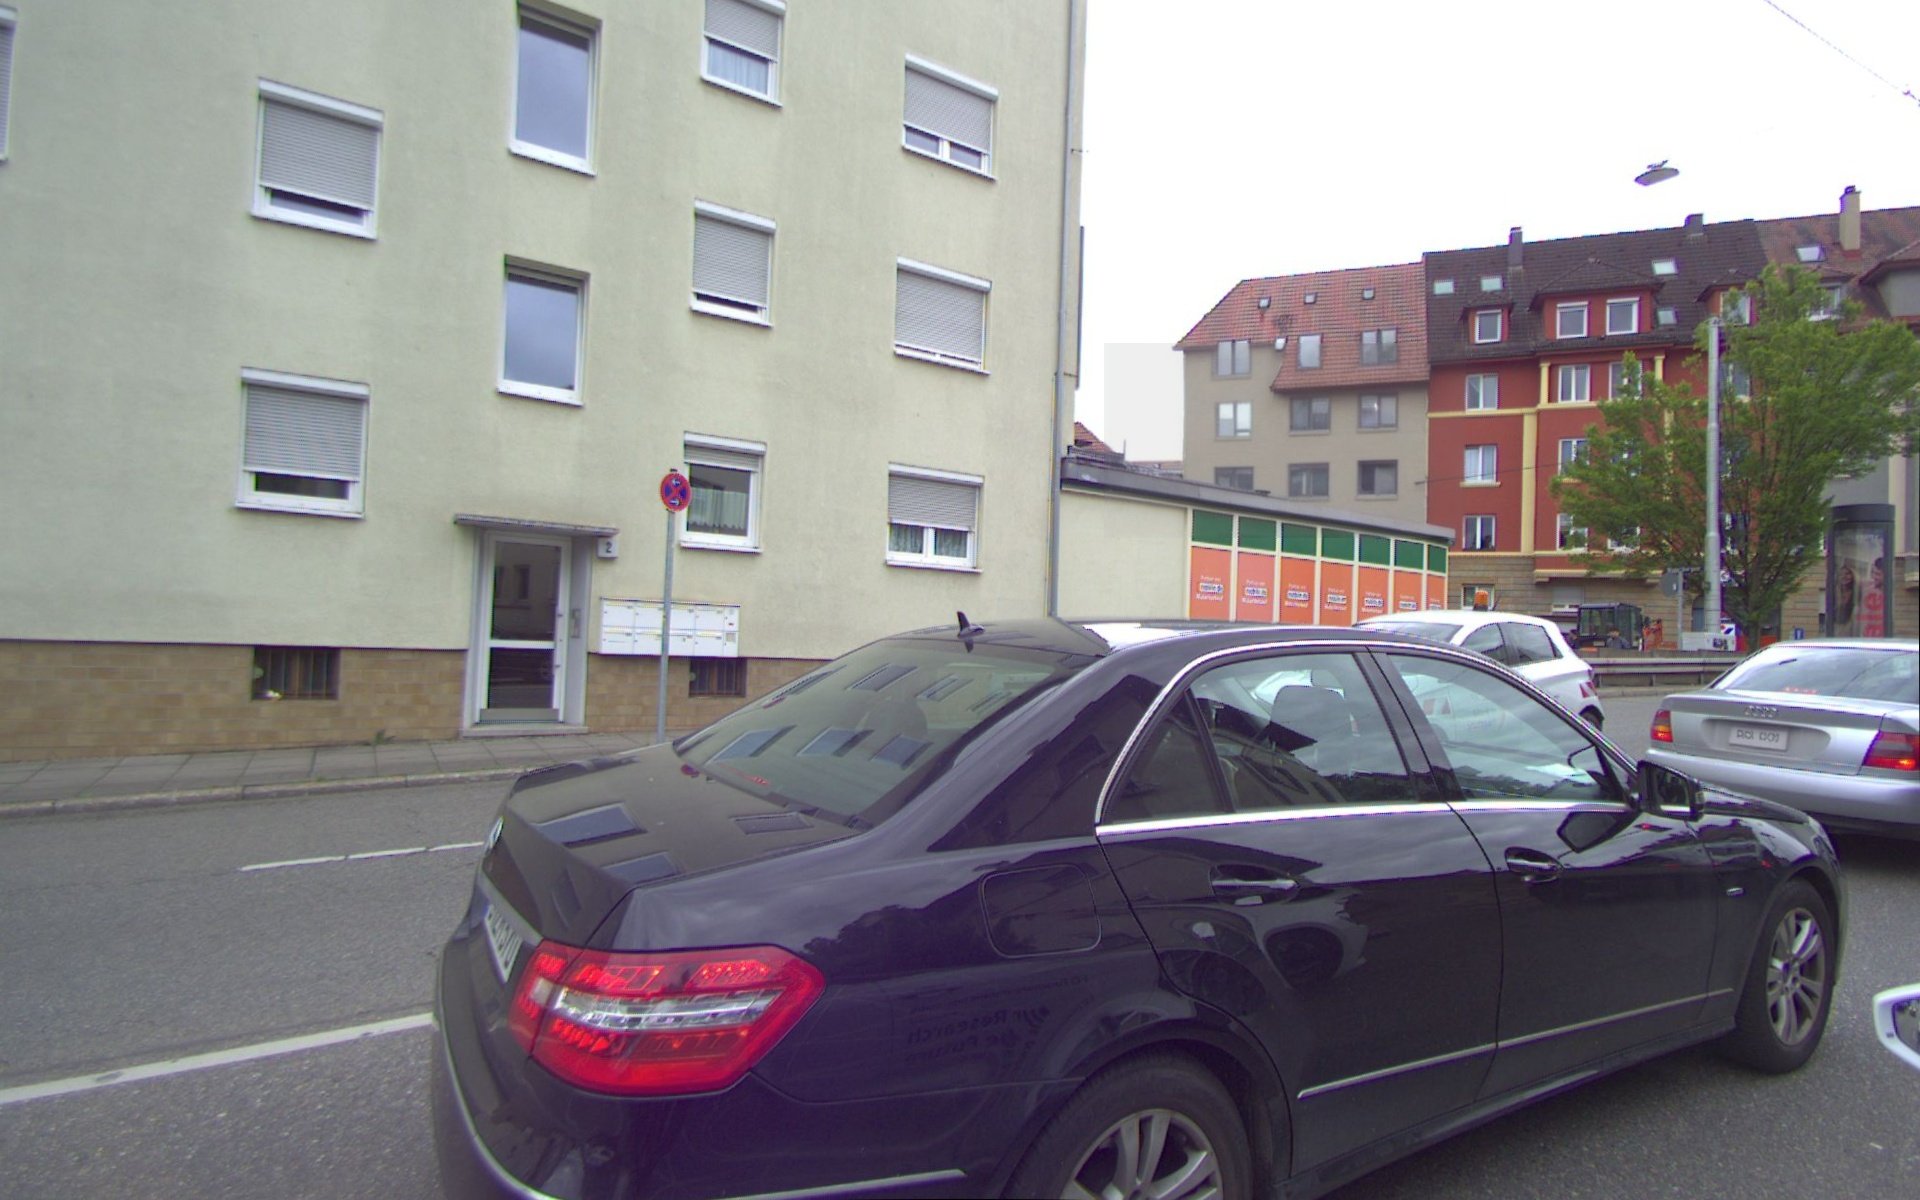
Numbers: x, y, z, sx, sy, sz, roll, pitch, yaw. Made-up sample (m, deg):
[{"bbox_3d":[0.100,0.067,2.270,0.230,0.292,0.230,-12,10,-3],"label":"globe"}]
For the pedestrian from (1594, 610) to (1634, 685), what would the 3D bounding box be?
[{"bbox_3d":[14.817,1.075,22.753,0.680,1.658,0.775,-1,-2,40],"label":"pedestrian"}]

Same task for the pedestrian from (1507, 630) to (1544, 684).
[{"bbox_3d":[14.639,1.471,26.014,0.613,1.381,0.602,0,-1,4],"label":"pedestrian"}]

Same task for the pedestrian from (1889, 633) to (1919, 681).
[{"bbox_3d":[27.207,1.630,28.826,0.572,1.356,0.576,0,-1,13],"label":"pedestrian"}]

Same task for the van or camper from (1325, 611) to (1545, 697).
[{"bbox_3d":[14.540,1.576,31.028,5.894,2.369,2.686,0,-1,26],"label":"van or camper"}]

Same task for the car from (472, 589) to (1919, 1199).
[{"bbox_3d":[1.079,0.775,3.393,4.785,1.447,1.984,1,-2,-30],"label":"car"}]

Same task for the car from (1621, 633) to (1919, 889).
[{"bbox_3d":[6.728,0.934,7.091,4.073,1.383,1.623,1,-2,-26],"label":"car"}]

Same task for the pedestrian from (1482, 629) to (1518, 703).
[{"bbox_3d":[15.352,1.855,28.582,0.810,2.040,0.680,0,0,21],"label":"pedestrian"}]

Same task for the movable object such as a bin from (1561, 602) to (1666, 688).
[{"bbox_3d":[16.558,1.110,25.391,3.510,2.040,1.363,2,-2,-42],"label":"movable object such as a bin"}]

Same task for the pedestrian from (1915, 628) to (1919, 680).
[{"bbox_3d":[27.834,1.544,28.671,0.640,1.507,0.524,0,-1,18],"label":"pedestrian"}]

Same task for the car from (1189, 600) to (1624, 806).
[{"bbox_3d":[4.233,0.859,9.379,4.038,1.541,1.761,2,-3,-32],"label":"car"}]
